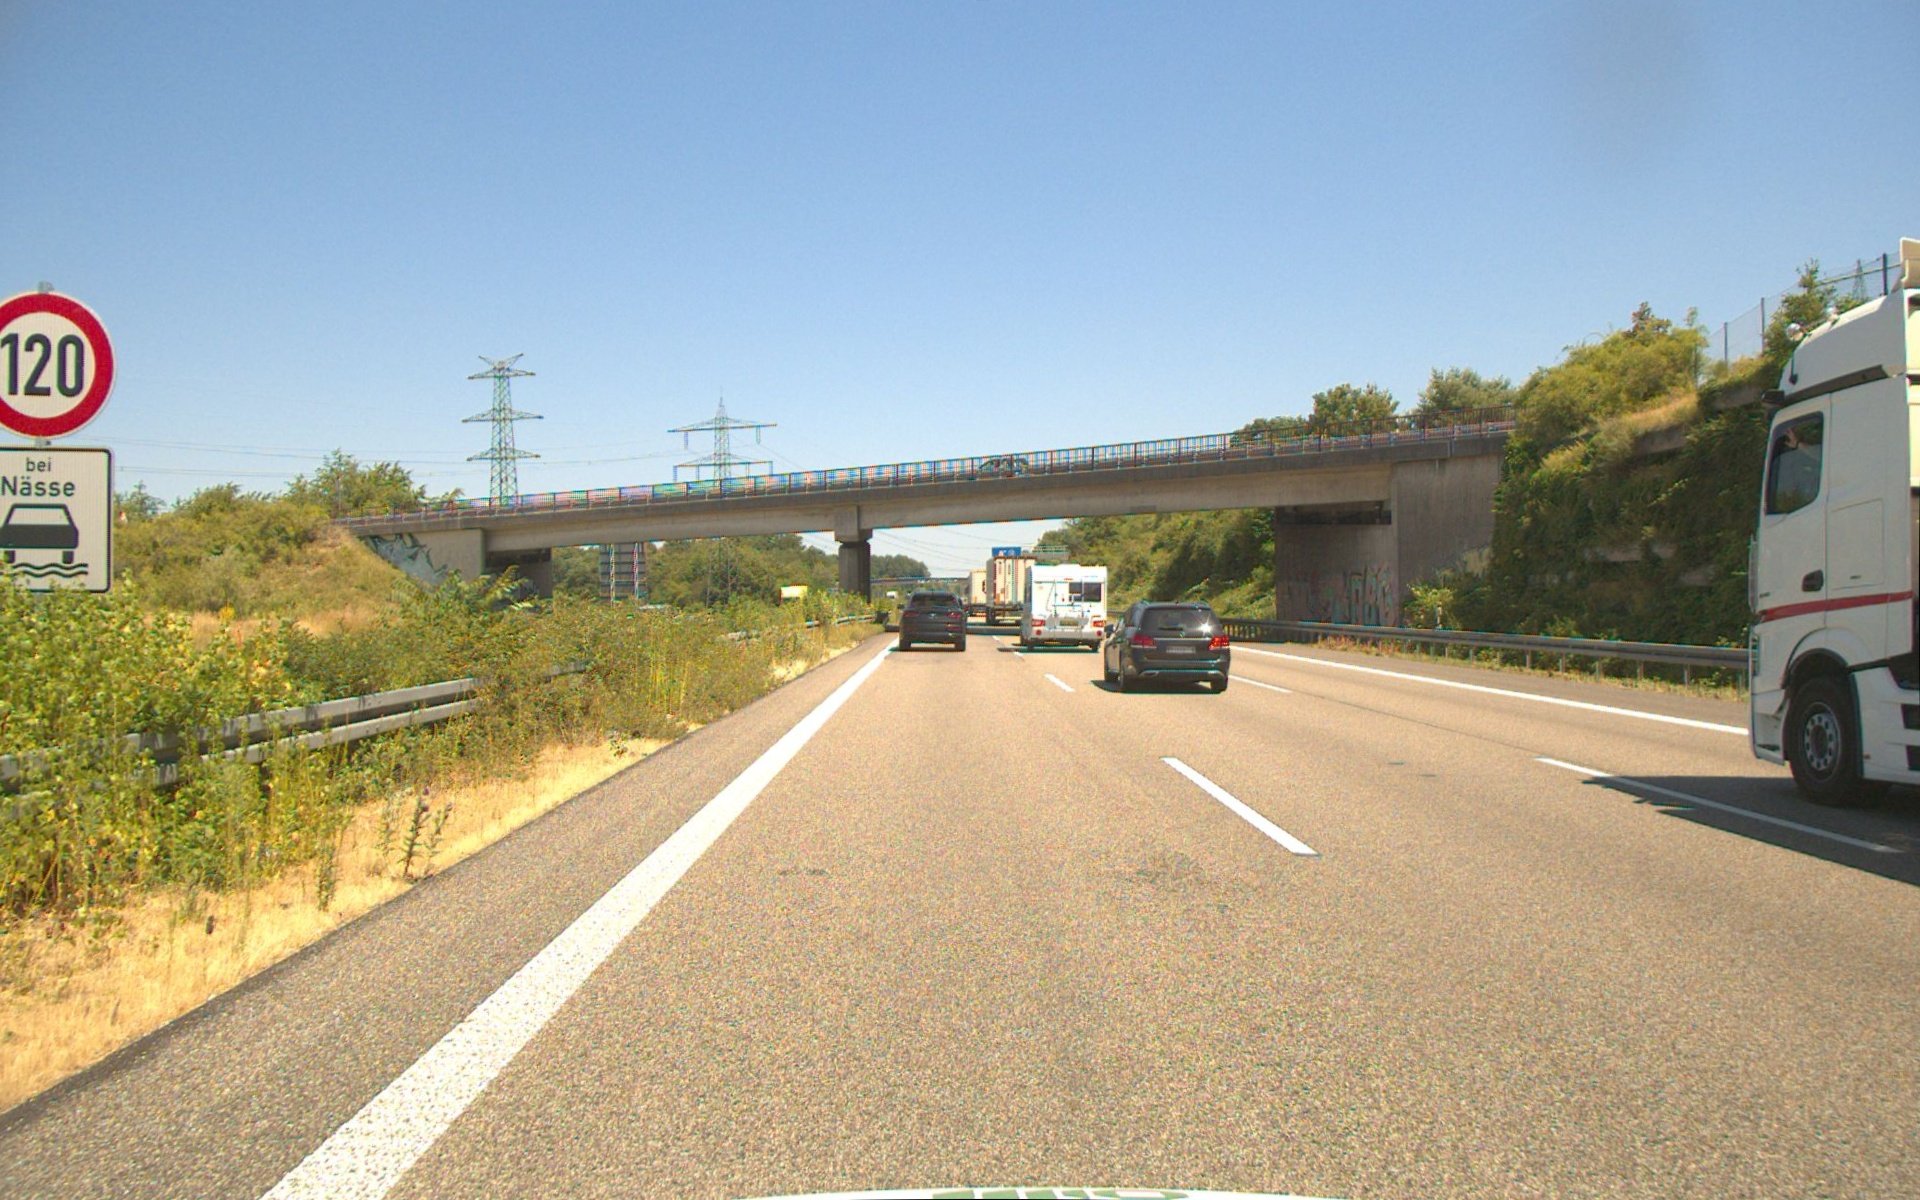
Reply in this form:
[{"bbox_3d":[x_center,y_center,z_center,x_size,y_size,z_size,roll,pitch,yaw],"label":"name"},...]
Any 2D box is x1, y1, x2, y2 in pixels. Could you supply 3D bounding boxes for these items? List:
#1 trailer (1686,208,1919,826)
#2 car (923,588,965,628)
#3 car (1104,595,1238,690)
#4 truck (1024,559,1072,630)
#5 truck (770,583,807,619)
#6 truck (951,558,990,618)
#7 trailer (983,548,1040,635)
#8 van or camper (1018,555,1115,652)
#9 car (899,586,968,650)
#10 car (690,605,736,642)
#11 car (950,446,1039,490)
[{"bbox_3d":[7.821,-0.564,11.256,2.658,4.174,6.787,0,0,-1],"label":"trailer"},{"bbox_3d":[-0.784,0.371,79.494,1.922,1.846,4.448,-1,0,-1],"label":"car"},{"bbox_3d":[3.624,0.686,29.168,1.803,1.532,4.738,0,0,1],"label":"car"},{"bbox_3d":[6.405,-0.337,121.775,3.024,4.970,8.797,1,0,0],"label":"truck"},{"bbox_3d":[-19.656,0.113,190.032,3.440,3.930,8.661,0,0,0],"label":"truck"},{"bbox_3d":[0.907,-1.071,152.758,3.440,5.257,10.257,0,0,0],"label":"truck"},{"bbox_3d":[3.084,-0.470,102.276,3.024,4.970,12.256,1,0,0],"label":"trailer"},{"bbox_3d":[3.141,0.083,50.272,2.389,2.721,6.348,-1,0,-1],"label":"van or camper"},{"bbox_3d":[-0.787,0.495,49.210,1.953,1.803,3.999,-1,0,-1],"label":"car"},{"bbox_3d":[-14.395,1.350,96.572,1.953,2.049,4.840,-3,0,-1],"label":"car"},{"bbox_3d":[1.704,-6.463,81.246,3.914,1.680,1.995,-2,-2,32],"label":"car"}]
